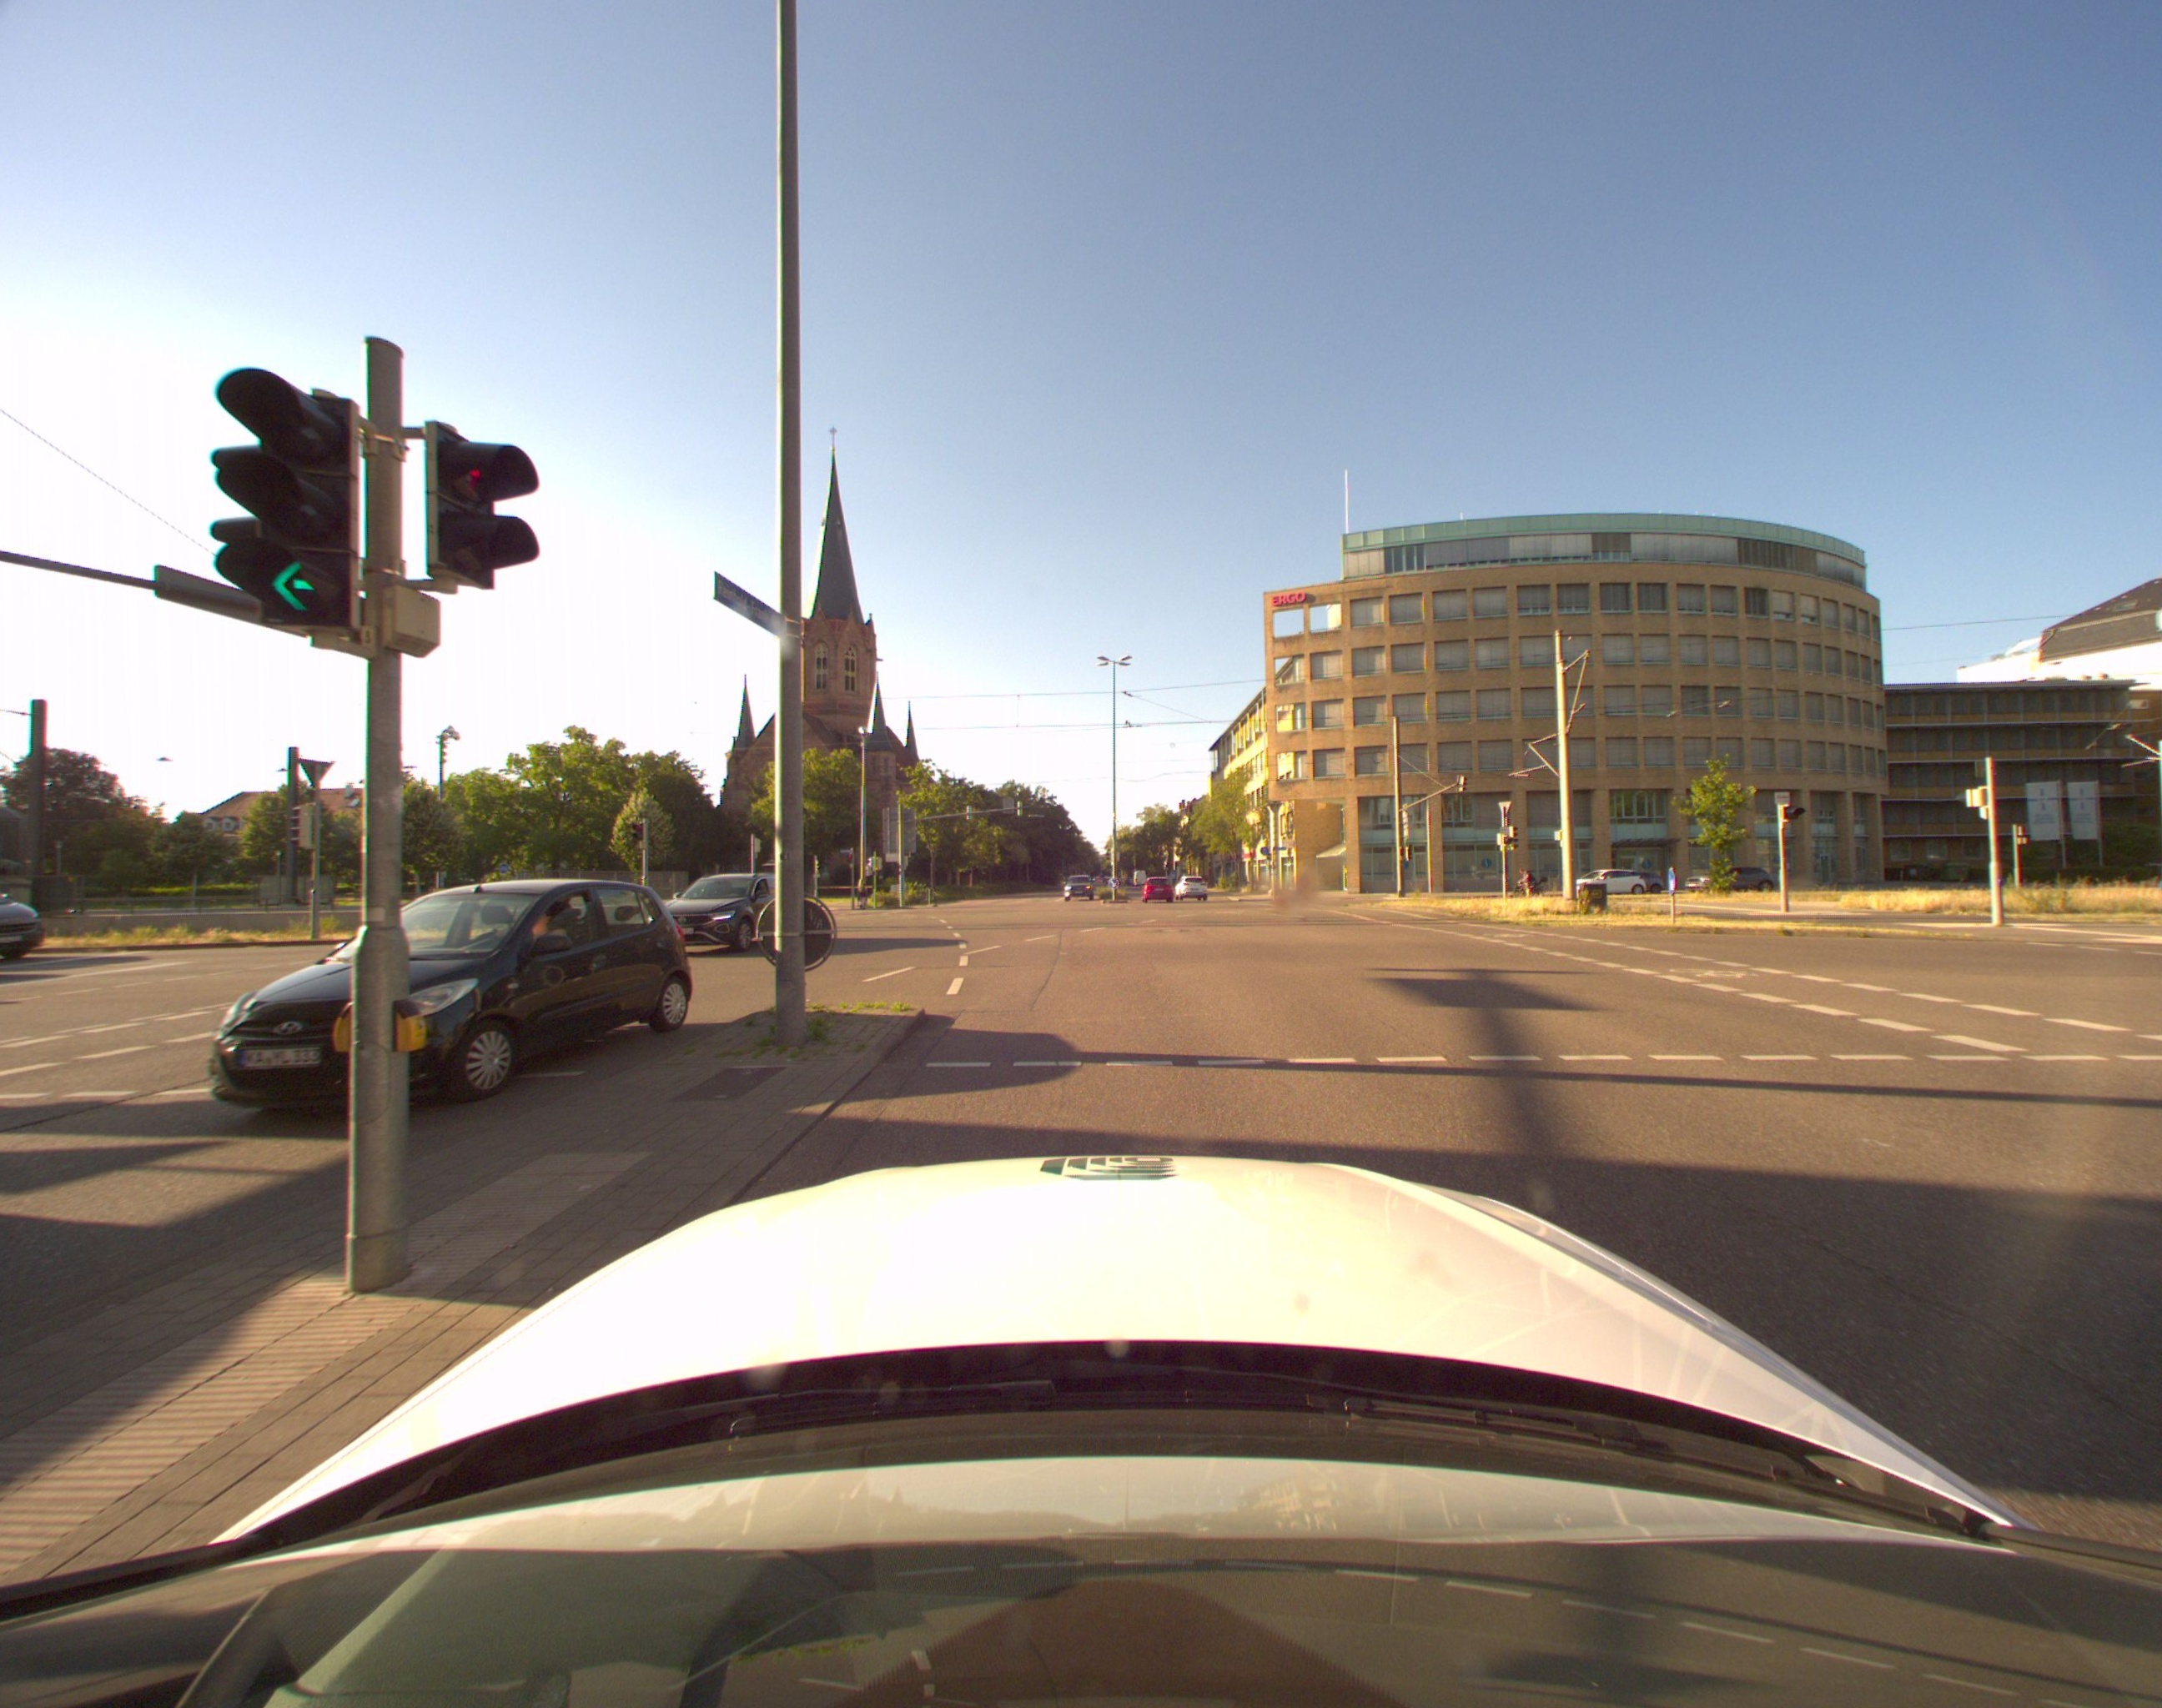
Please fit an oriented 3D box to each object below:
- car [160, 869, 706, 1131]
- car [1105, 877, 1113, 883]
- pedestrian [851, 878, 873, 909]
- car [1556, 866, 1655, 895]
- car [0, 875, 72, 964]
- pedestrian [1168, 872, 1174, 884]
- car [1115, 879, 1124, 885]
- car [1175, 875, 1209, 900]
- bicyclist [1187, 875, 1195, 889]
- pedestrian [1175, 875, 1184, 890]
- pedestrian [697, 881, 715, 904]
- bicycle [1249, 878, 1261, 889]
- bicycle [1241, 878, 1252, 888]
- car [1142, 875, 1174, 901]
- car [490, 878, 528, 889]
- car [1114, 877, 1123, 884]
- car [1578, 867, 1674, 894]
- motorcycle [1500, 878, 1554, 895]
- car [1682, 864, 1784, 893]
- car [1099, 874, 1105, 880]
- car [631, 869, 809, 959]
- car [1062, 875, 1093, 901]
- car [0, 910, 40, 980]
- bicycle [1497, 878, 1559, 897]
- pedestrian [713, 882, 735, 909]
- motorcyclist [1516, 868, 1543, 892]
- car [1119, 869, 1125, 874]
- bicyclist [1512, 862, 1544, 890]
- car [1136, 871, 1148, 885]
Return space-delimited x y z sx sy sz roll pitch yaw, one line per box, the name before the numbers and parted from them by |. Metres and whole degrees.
car | -4.840 0.941 6.788 1.571 1.544 3.480 -3 -1 4
car | 6.058 5.749 177.571 1.588 1.267 3.268 -1 -1 2
pedestrian | -12.390 2.240 46.048 0.961 1.739 0.813 -1 -2 3
car | 28.588 1.444 44.472 4.149 1.492 1.994 -1 -2 0
car | -26.695 1.523 18.512 4.907 2.014 1.999 -1 -2 -1
pedestrian | 13.676 3.648 123.925 0.844 1.804 0.776 -1 -1 2
car | 7.642 5.576 161.912 1.588 1.267 3.268 -1 -1 2
car | 7.599 2.280 56.060 1.909 1.607 4.271 0 -2 2
bicyclist | 10.498 2.658 77.660 0.589 1.369 0.930 1 -1 2
pedestrian | 13.143 3.801 108.553 1.103 1.976 1.161 -1 -2 2
pedestrian | -27.282 2.780 59.201 0.849 1.697 1.004 2 -2 -44
bicycle | 15.693 2.644 73.466 0.644 0.995 2.081 -1 -2 1
bicycle | 15.837 2.762 77.953 0.644 0.995 2.081 -1 -2 1
car | 4.489 1.982 47.862 1.663 1.462 4.002 0 -2 2
car | -90.804 4.654 129.272 4.449 1.572 1.993 -1 -2 -10
car | 6.838 4.930 149.955 1.588 1.267 3.268 -1 -1 2
car | 33.035 1.636 49.456 4.464 1.537 1.987 -1 -2 2
motorcycle | 27.082 1.959 49.524 2.708 0.964 1.032 -1 -2 1
car | 35.466 1.332 44.386 4.037 1.492 1.820 -1 -2 1
car | 6.303 6.877 244.699 1.879 1.671 4.002 0 -2 2
car | -7.433 1.159 17.262 1.788 1.565 4.148 -2 -1 1
car | -0.218 2.368 57.138 1.986 1.724 5.031 -1 -2 1
car | -22.659 1.778 15.151 4.174 1.313 1.800 -1 -2 -1
bicycle | 25.829 1.926 47.118 2.950 1.000 1.154 -1 -2 0
pedestrian | -23.470 2.719 53.504 1.005 1.697 0.849 0 -2 22
motorcyclist | 27.270 1.574 49.536 1.061 1.436 1.032 -1 -2 1
car | 12.540 5.314 248.796 1.588 1.267 3.268 -1 -1 2
bicyclist | 25.864 1.285 47.140 1.219 1.572 1.154 -1 -2 0
car | 10.360 4.077 137.992 1.986 2.441 4.002 0 -2 2
